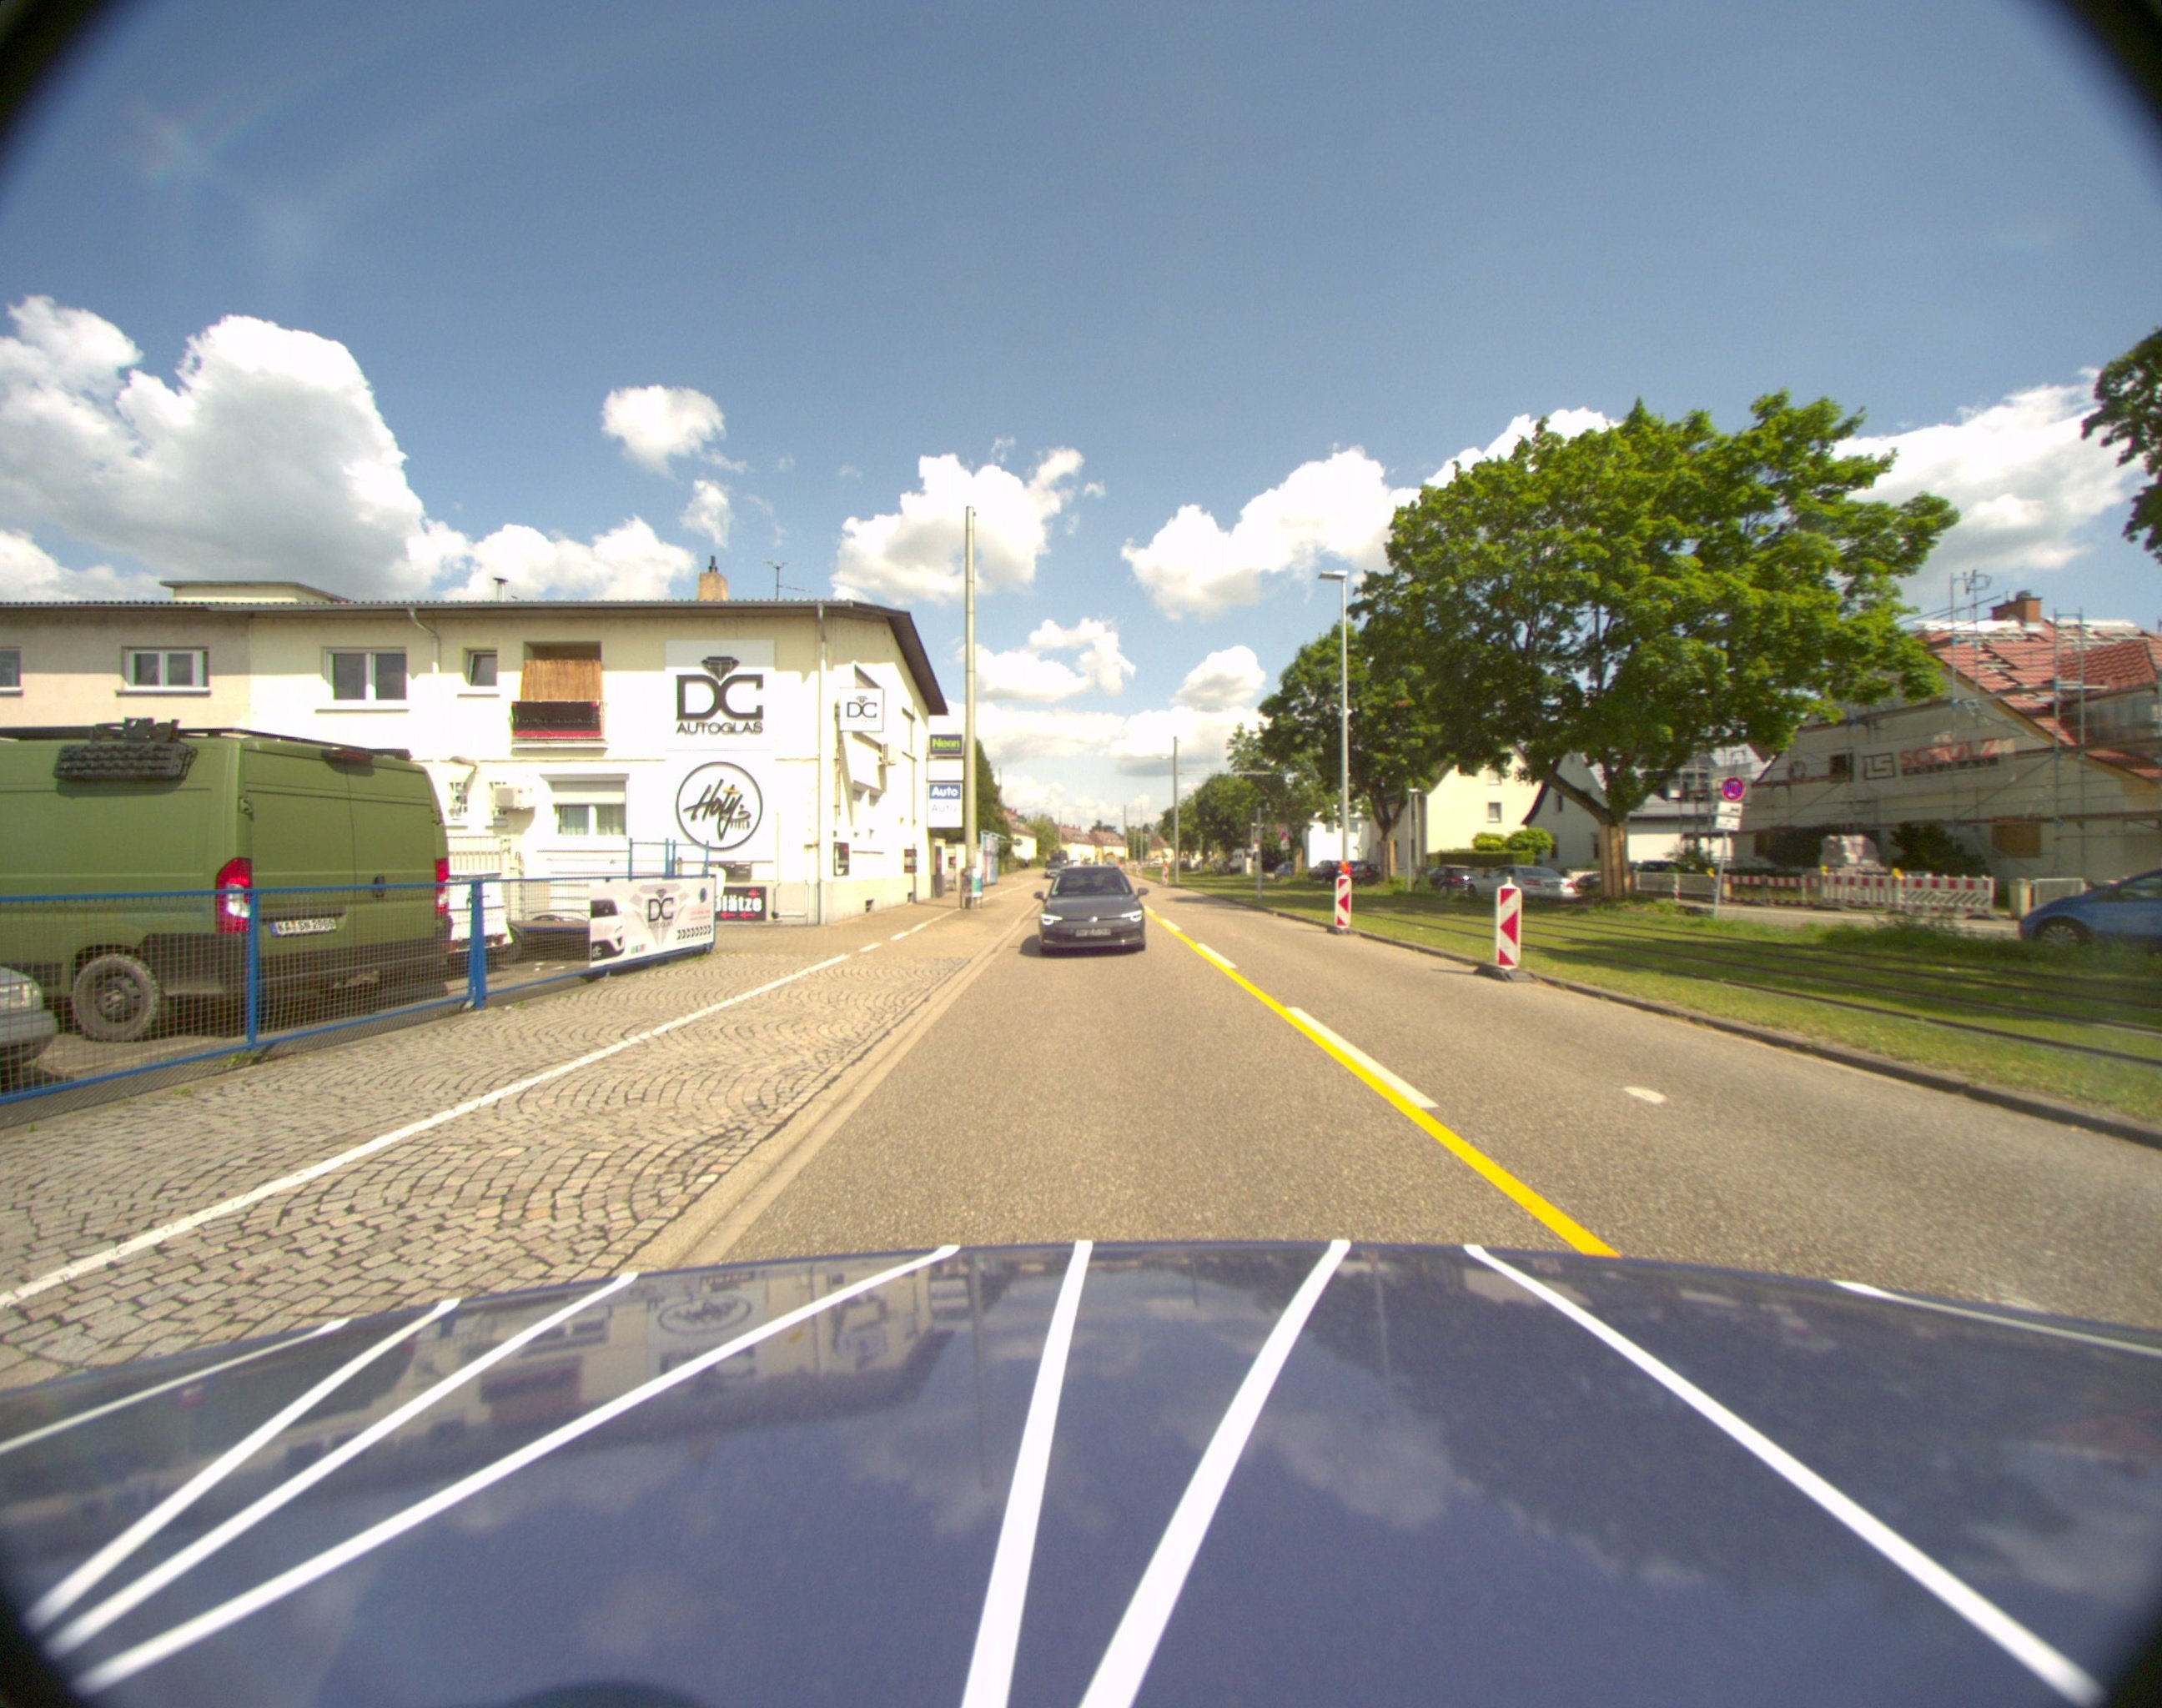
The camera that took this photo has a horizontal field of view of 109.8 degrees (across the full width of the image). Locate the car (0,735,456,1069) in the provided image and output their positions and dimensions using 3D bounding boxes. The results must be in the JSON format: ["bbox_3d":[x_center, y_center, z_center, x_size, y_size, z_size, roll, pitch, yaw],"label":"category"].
[{"bbox_3d":[-8.888,0.366,6.977,4.547,2.558,2.151,0,1,2],"label":"car"}]

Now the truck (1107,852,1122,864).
[{"bbox_3d":[8.915,0.961,200.444,2.529,2.931,7.869,1,1,13],"label":"truck"}]

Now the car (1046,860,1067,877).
[{"bbox_3d":[-2.260,1.303,70.608,1.655,1.423,4.096,1,0,1],"label":"car"}]

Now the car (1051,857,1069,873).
[{"bbox_3d":[-2.118,1.099,75.365,1.696,1.507,4.355,1,0,-2],"label":"car"}]

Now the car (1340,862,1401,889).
[{"bbox_3d":[16.866,1.222,44.509,1.998,1.430,4.000,1,0,0],"label":"car"}]

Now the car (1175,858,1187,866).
[{"bbox_3d":[19.257,1.570,146.164,1.998,1.530,4.323,1,0,3],"label":"car"}]

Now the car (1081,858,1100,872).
[{"bbox_3d":[1.043,1.258,87.658,1.999,1.566,3.999,0,0,-2],"label":"car"}]

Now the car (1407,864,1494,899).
[{"bbox_3d":[16.425,1.199,34.038,1.998,1.310,3.852,2,0,0],"label":"car"}]

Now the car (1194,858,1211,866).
[{"bbox_3d":[17.037,1.068,106.675,1.785,1.087,3.836,1,0,0],"label":"car"}]

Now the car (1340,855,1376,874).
[{"bbox_3d":[25.338,0.937,69.691,1.907,1.568,4.000,1,0,1],"label":"car"}]

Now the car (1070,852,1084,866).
[{"bbox_3d":[-0.632,0.920,135.760,1.923,2.522,5.346,1,0,5],"label":"car"}]

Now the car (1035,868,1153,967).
[{"bbox_3d":[0.170,1.031,13.951,1.786,1.412,4.289,-2,0,-1],"label":"car"}]

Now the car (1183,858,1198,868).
[{"bbox_3d":[17.630,1.481,122.292,1.910,1.568,4.102,3,-1,2],"label":"car"}]

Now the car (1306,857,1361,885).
[{"bbox_3d":[16.649,1.074,50.332,1.999,1.681,4.390,1,0,-3],"label":"car"}]

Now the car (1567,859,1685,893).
[{"bbox_3d":[25.025,1.003,35.013,3.997,1.393,1.982,-1,1,1],"label":"car"}]

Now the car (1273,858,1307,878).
[{"bbox_3d":[16.568,1.097,60.309,1.758,1.427,3.889,1,0,3],"label":"car"}]

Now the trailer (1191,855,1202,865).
[{"bbox_3d":[17.083,0.913,112.046,1.302,1.510,2.282,1,0,0],"label":"trailer"}]

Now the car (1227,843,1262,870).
[{"bbox_3d":[16.724,0.266,78.001,1.999,2.714,6.462,1,0,-1],"label":"car"}]

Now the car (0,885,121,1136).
[{"bbox_3d":[-8.383,0.918,4.253,4.191,1.423,1.821,0,0,8],"label":"car"}]

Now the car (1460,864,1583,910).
[{"bbox_3d":[16.459,1.164,28.742,1.809,1.474,4.939,1,0,1],"label":"car"}]

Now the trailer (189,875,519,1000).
[{"bbox_3d":[-8.734,0.965,9.272,2.789,1.325,1.303,1,1,1],"label":"trailer"}]

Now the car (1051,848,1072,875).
[{"bbox_3d":[-2.015,0.786,81.270,2.001,2.744,4.878,1,0,1],"label":"car"}]

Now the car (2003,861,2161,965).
[{"bbox_3d":[16.351,0.865,10.619,1.999,1.444,3.999,1,0,-1],"label":"car"}]

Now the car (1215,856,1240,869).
[{"bbox_3d":[16.869,0.964,87.742,1.998,1.497,4.486,1,0,1],"label":"car"}]
